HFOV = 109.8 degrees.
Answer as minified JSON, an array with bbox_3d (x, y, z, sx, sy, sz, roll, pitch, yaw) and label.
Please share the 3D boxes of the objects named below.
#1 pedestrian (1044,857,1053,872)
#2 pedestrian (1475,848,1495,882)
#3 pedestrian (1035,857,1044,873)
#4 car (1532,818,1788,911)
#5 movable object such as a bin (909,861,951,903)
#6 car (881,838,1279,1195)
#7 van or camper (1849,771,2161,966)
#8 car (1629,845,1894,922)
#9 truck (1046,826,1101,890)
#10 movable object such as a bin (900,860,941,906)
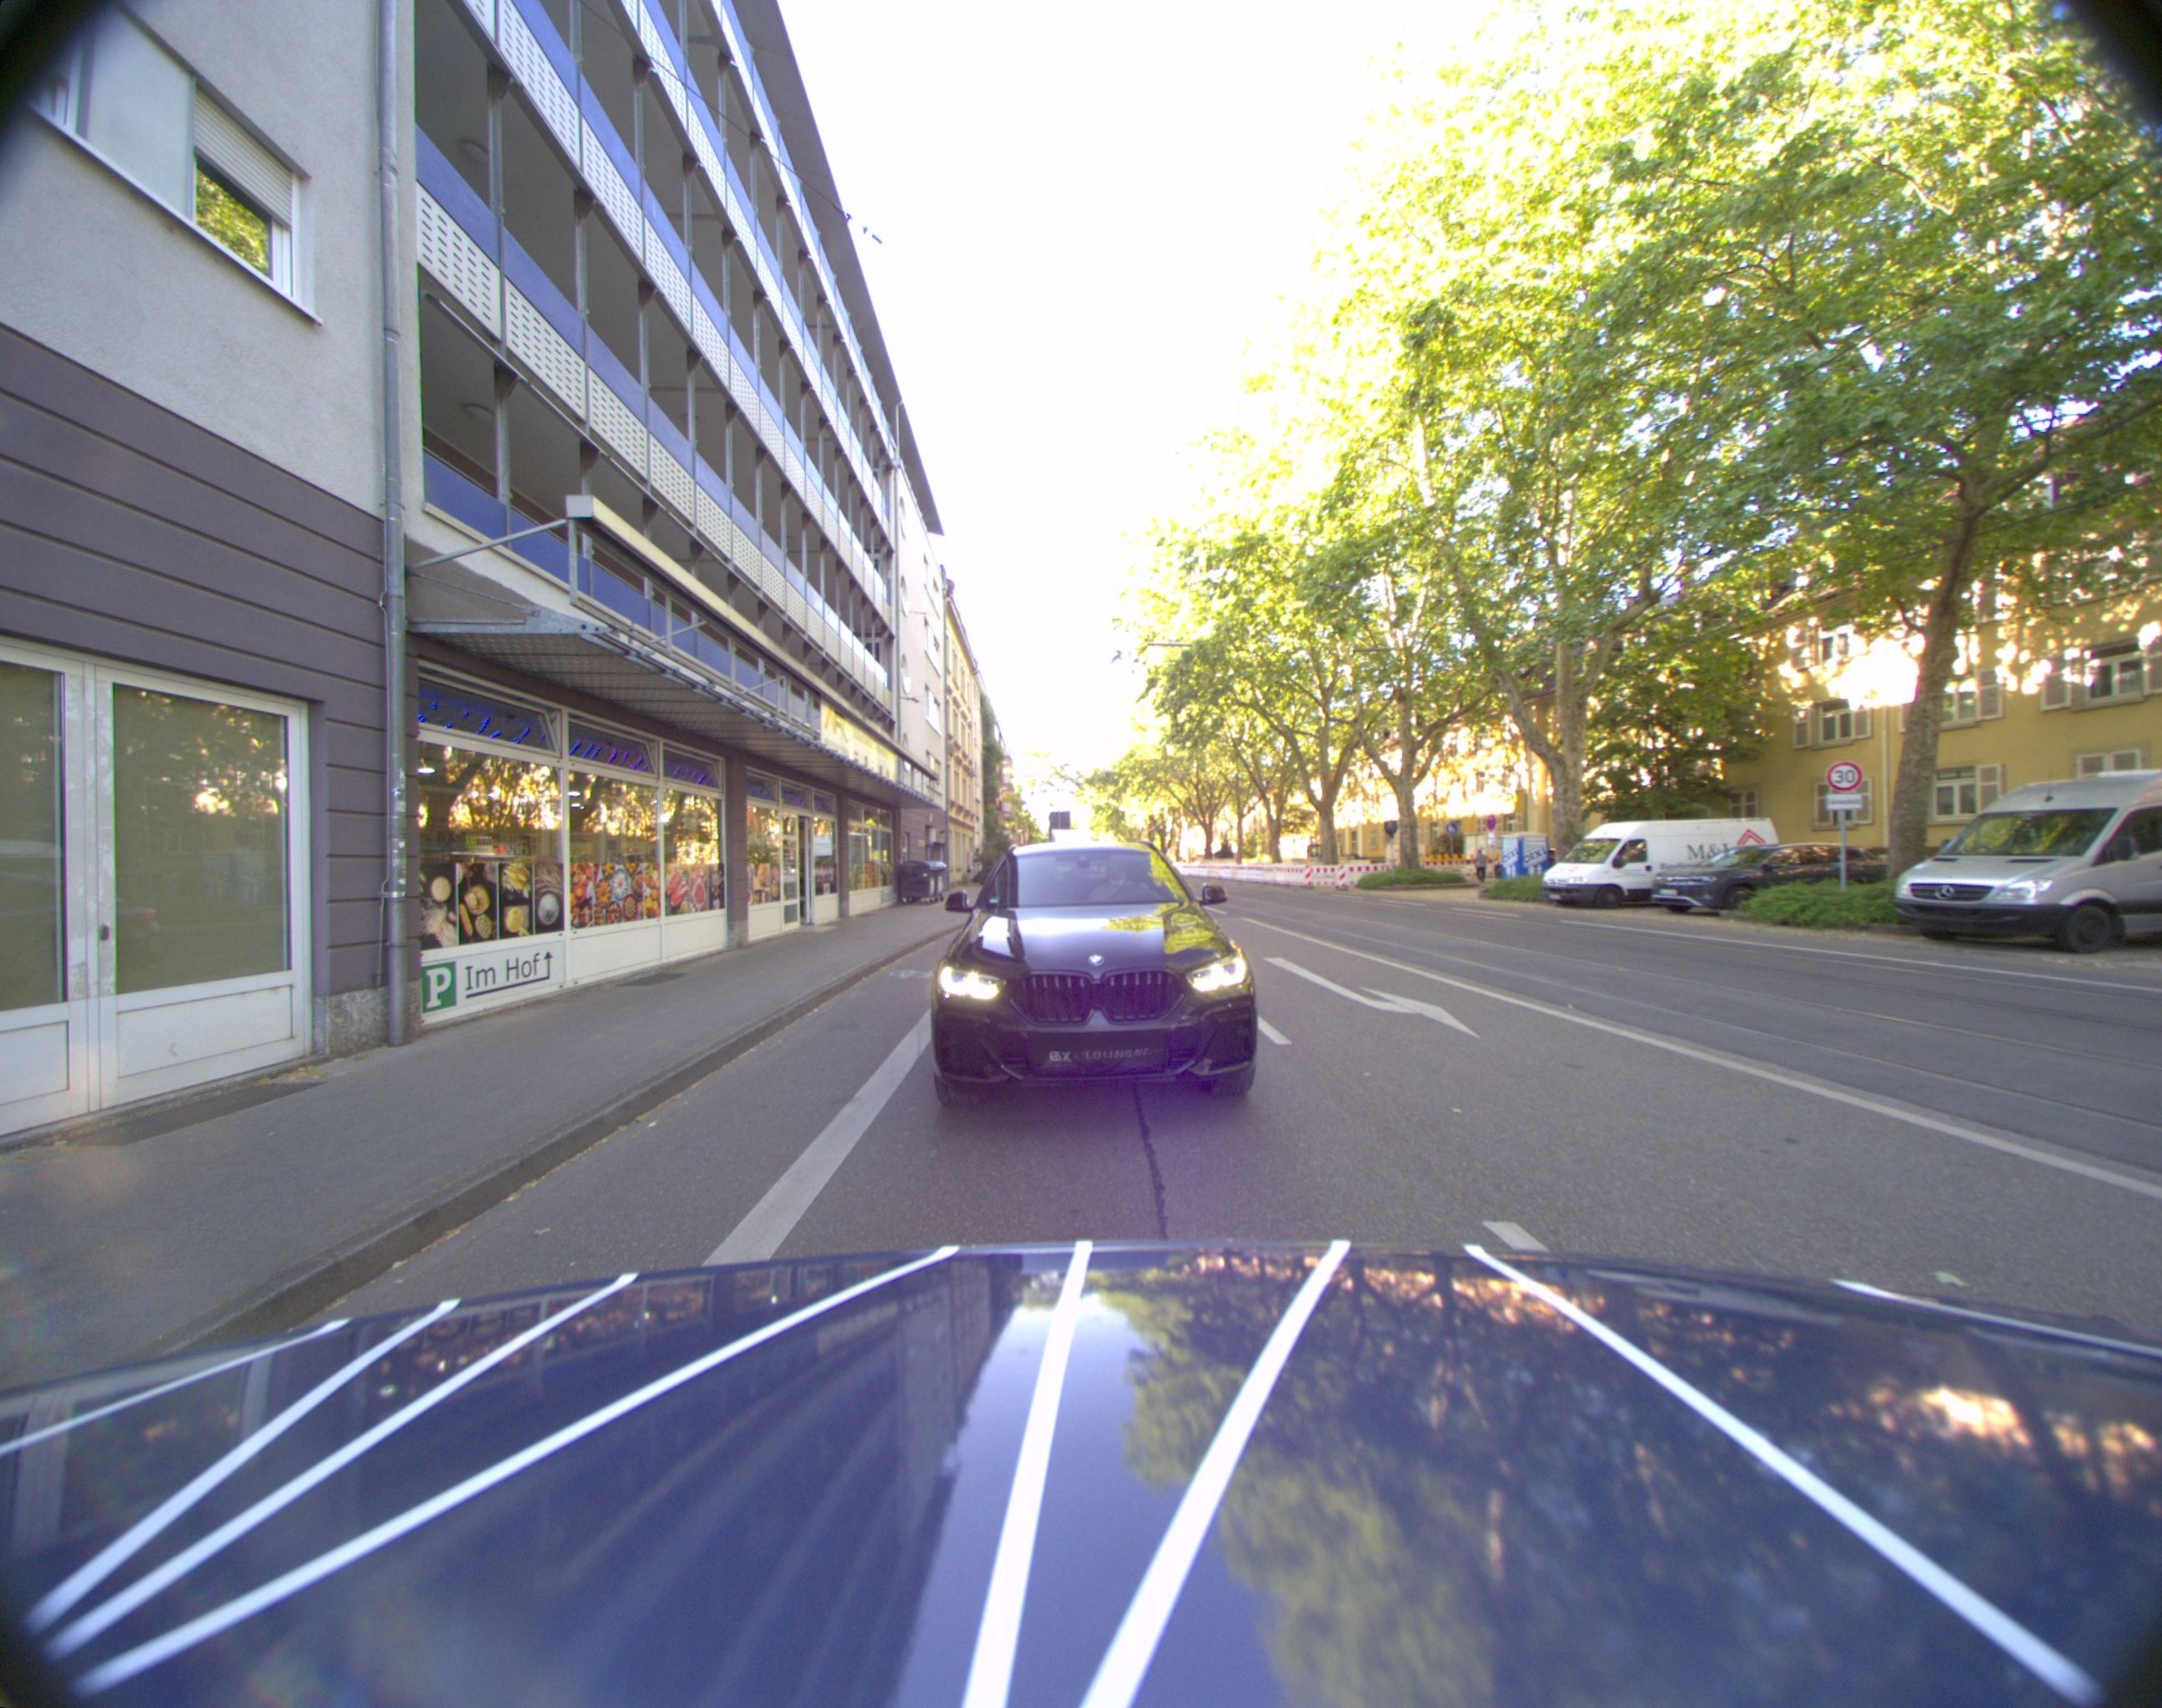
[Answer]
[{"bbox_3d":[-3.675,1.181,86.160,0.876,1.728,0.848,-3,1,1],"label":"pedestrian"},{"bbox_3d":[18.502,0.496,34.814,0.596,1.563,0.718,-1,0,8],"label":"pedestrian"},{"bbox_3d":[-4.685,1.231,86.198,0.876,1.728,0.848,-3,1,1],"label":"pedestrian"},{"bbox_3d":[15.850,0.280,21.004,5.612,2.361,2.025,-1,0,-2],"label":"car"},{"bbox_3d":[-5.289,0.960,26.711,1.122,1.437,1.306,-1,0,4],"label":"movable object such as a bin"},{"bbox_3d":[0.019,0.829,6.062,1.943,1.733,4.475,-2,0,1],"label":"car"},{"bbox_3d":[16.088,0.133,11.805,6.127,2.661,2.229,-2,0,-2],"label":"van or camper"},{"bbox_3d":[15.939,0.662,17.978,4.575,1.621,1.969,-1,0,-2],"label":"car"},{"bbox_3d":[-0.578,0.211,43.160,2.385,3.165,8.525,2,0,-5],"label":"truck"},{"bbox_3d":[-5.229,0.940,24.815,1.069,1.438,1.296,-1,0,-1],"label":"movable object such as a bin"}]
